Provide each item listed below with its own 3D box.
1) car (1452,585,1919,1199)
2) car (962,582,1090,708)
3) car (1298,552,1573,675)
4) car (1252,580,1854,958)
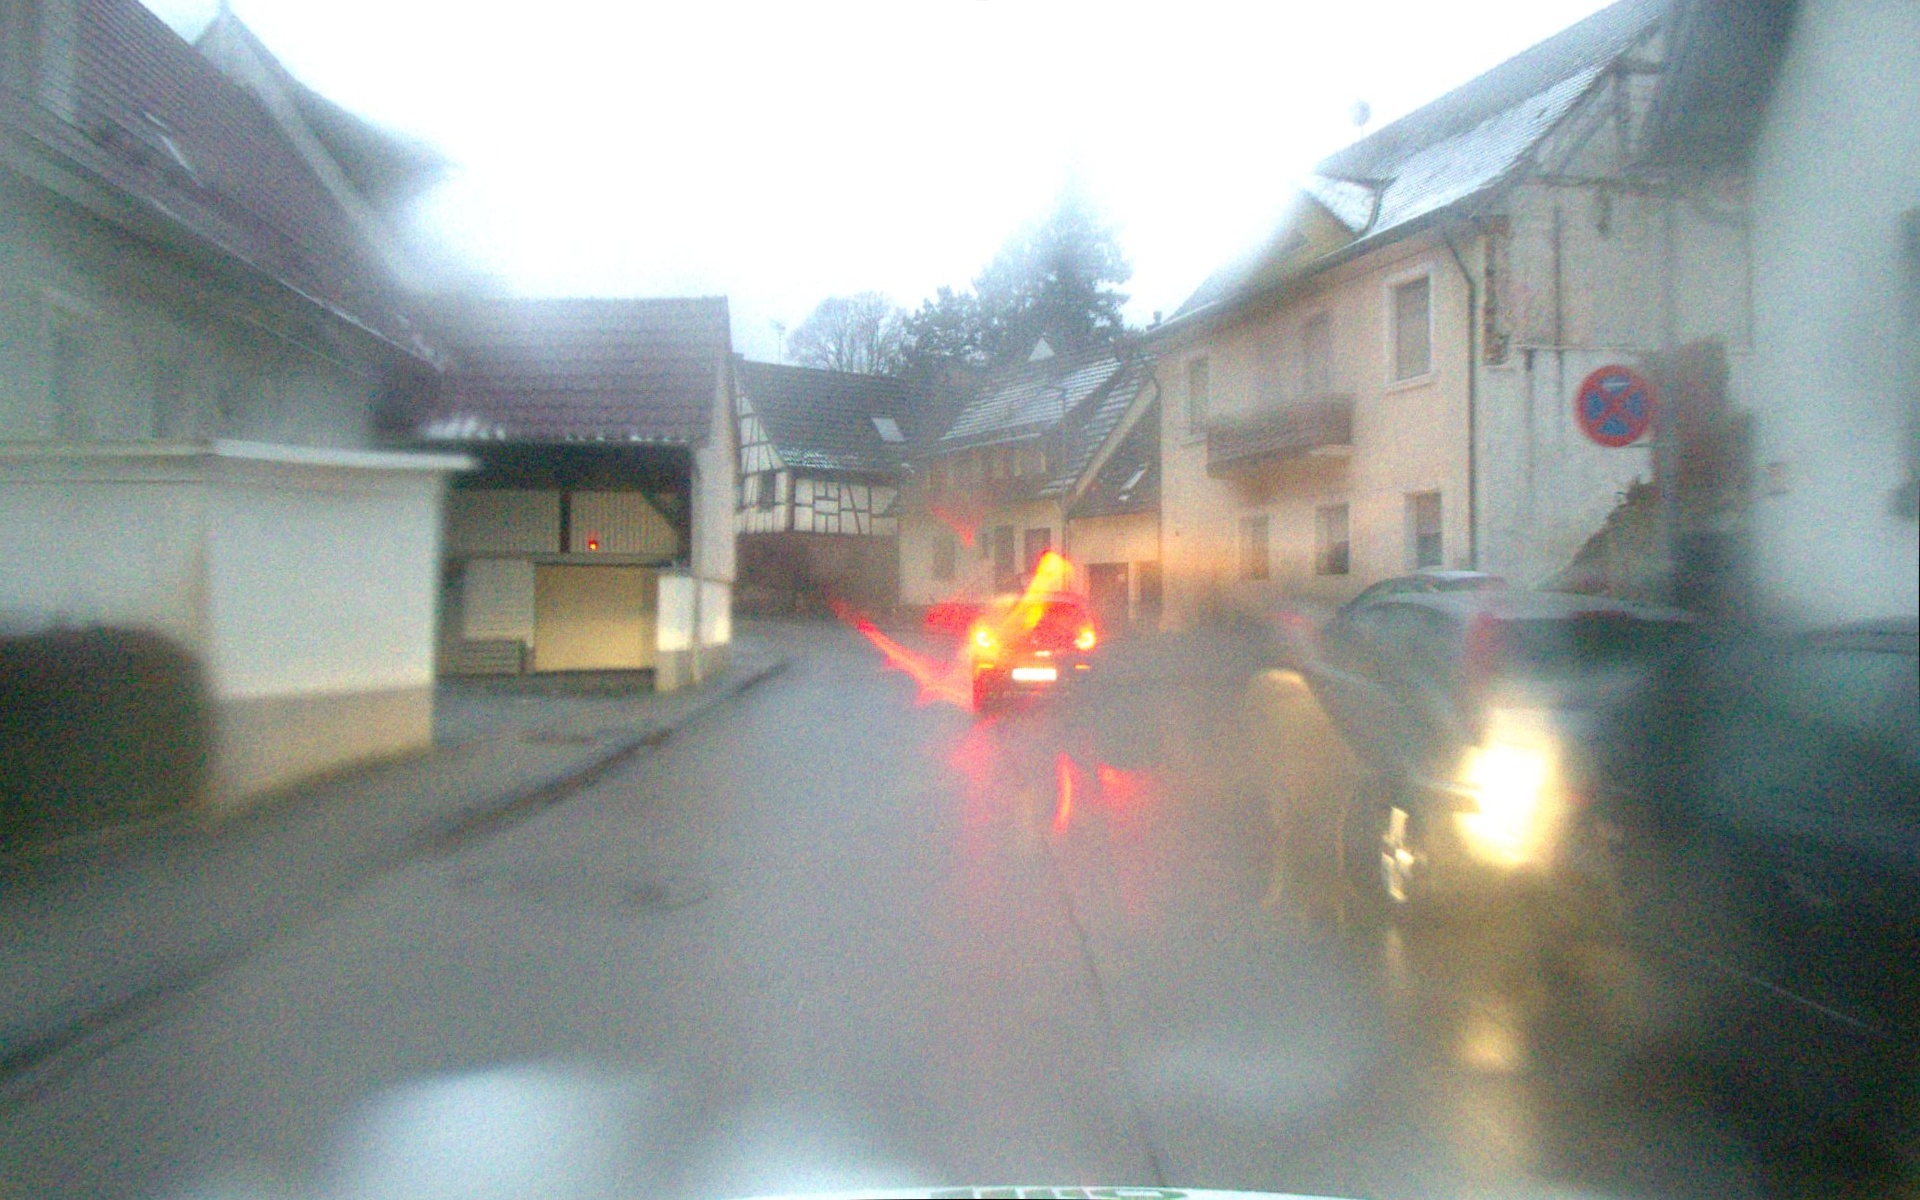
[{"bbox_3d":[2.823,0.730,4.521,1.605,1.497,3.998,1,0,-2],"label":"car"},{"bbox_3d":[0.855,0.529,21.661,1.514,1.491,3.699,1,0,2],"label":"car"},{"bbox_3d":[6.642,0.202,23.641,1.777,1.513,4.260,-3,0,-15],"label":"car"},{"bbox_3d":[2.790,0.689,8.776,1.605,1.520,3.998,1,0,-2],"label":"car"}]
